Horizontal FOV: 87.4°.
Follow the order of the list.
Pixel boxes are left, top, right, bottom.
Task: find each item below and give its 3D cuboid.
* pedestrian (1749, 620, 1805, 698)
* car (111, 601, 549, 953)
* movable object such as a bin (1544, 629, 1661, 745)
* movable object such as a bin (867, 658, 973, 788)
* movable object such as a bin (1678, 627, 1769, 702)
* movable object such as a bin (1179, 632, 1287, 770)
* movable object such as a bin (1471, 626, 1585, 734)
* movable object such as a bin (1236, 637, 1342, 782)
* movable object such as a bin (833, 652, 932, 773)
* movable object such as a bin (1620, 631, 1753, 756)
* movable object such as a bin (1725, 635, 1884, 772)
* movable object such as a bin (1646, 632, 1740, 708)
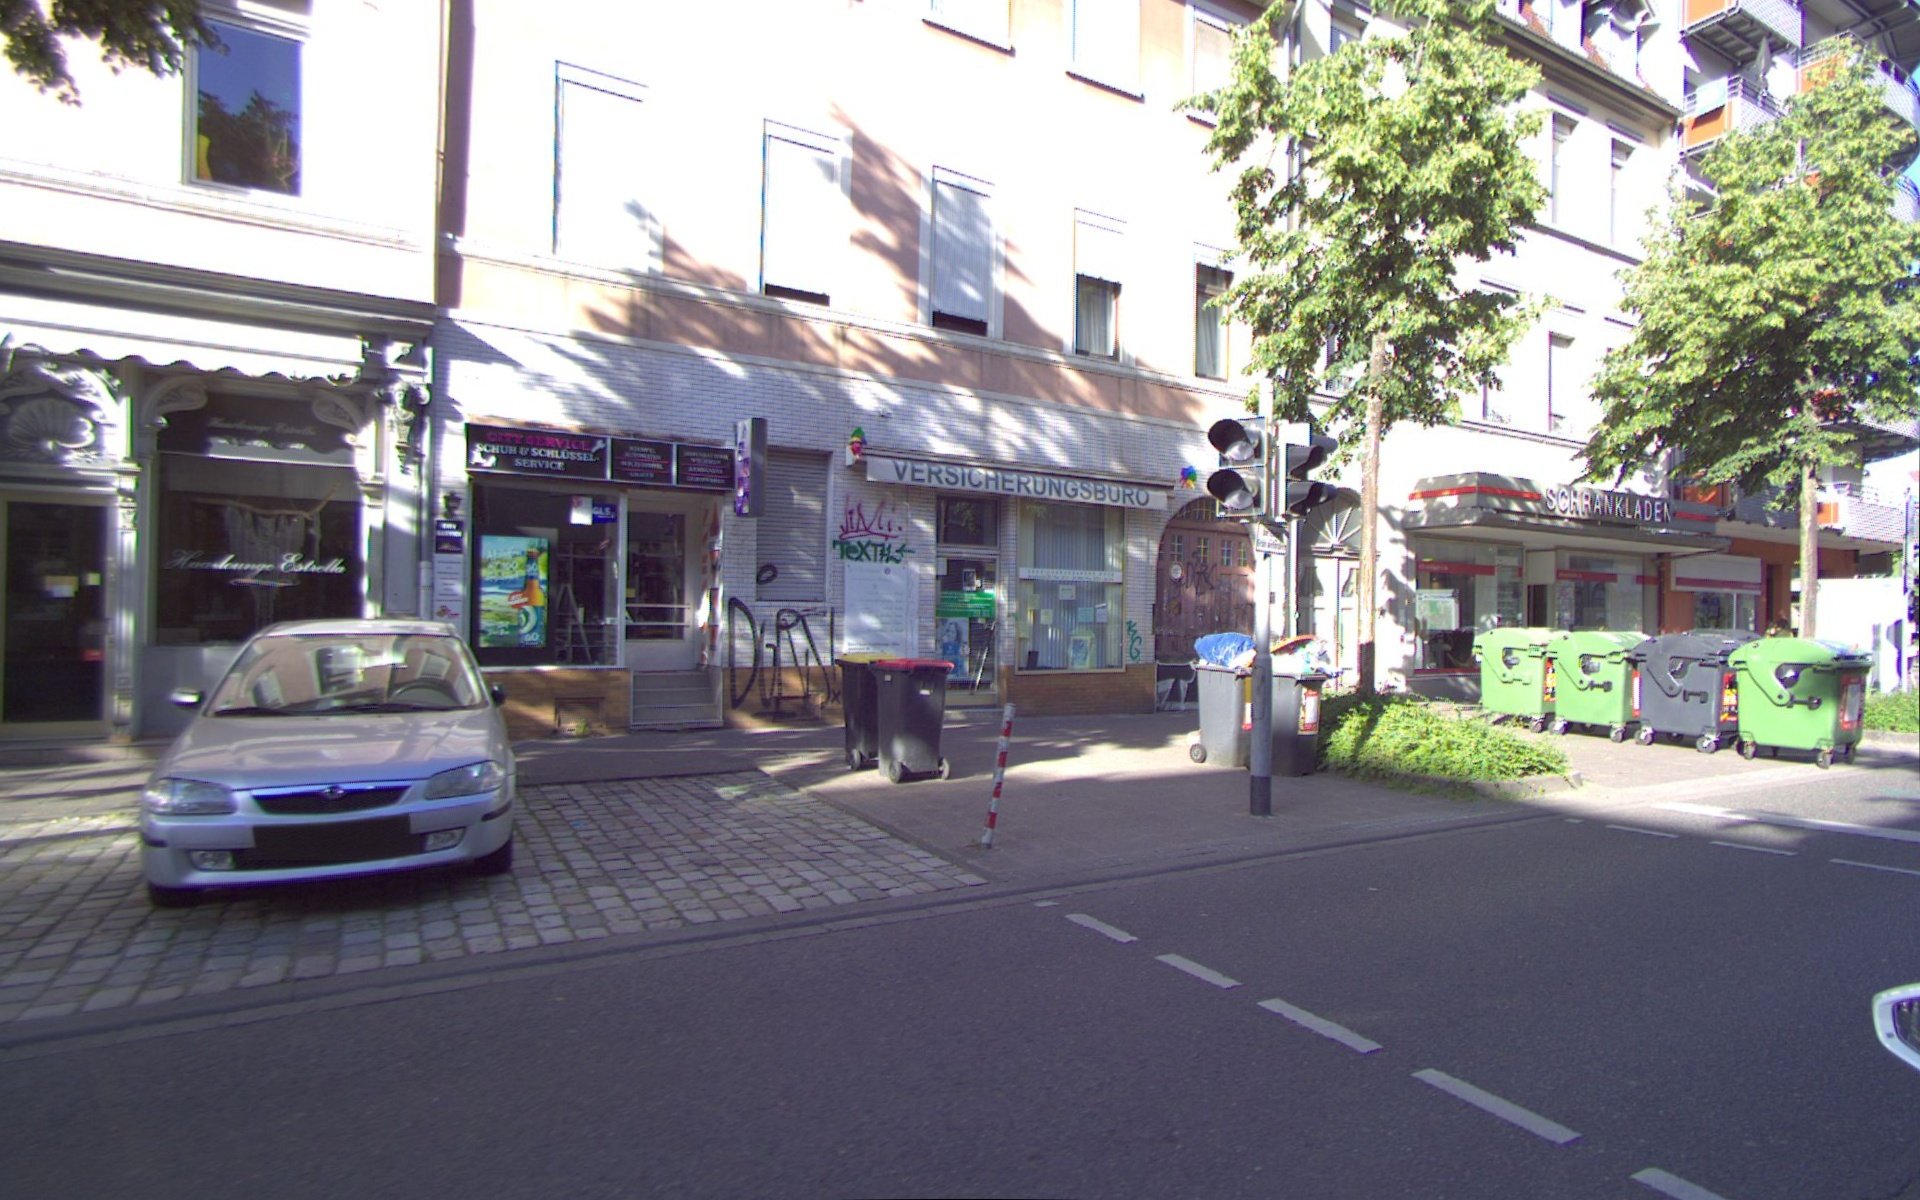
[{"bbox_3d":[18.233,1.297,22.412,1.025,1.681,0.661,1,-1,-31],"label":"pedestrian"},{"bbox_3d":[-3.810,0.772,6.553,1.717,1.488,4.187,1,0,-27],"label":"car"},{"bbox_3d":[8.797,1.151,13.759,1.130,1.491,0.959,1,-1,-31],"label":"movable object such as a bin"},{"bbox_3d":[-0.364,1.076,9.040,0.796,1.083,0.528,1,-1,-31],"label":"movable object such as a bin"},{"bbox_3d":[15.047,1.243,19.808,1.299,1.422,1.037,1,-1,-31],"label":"movable object such as a bin"},{"bbox_3d":[2.858,1.025,10.536,0.796,1.359,0.751,1,-1,-31],"label":"movable object such as a bin"},{"bbox_3d":[8.264,1.126,14.638,1.130,1.491,1.037,1,-1,-31],"label":"movable object such as a bin"},{"bbox_3d":[3.247,1.047,9.923,0.796,1.359,0.631,1,-1,-31],"label":"movable object such as a bin"},{"bbox_3d":[-0.743,1.051,9.639,0.796,1.083,0.528,1,-1,-31],"label":"movable object such as a bin"},{"bbox_3d":[9.305,1.153,12.883,1.130,1.491,1.037,1,-1,-31],"label":"movable object such as a bin"},{"bbox_3d":[9.952,1.167,11.848,1.436,1.491,1.037,1,-1,-31],"label":"movable object such as a bin"},{"bbox_3d":[13.931,1.306,19.104,1.299,1.363,1.037,1,-1,-31],"label":"movable object such as a bin"}]
